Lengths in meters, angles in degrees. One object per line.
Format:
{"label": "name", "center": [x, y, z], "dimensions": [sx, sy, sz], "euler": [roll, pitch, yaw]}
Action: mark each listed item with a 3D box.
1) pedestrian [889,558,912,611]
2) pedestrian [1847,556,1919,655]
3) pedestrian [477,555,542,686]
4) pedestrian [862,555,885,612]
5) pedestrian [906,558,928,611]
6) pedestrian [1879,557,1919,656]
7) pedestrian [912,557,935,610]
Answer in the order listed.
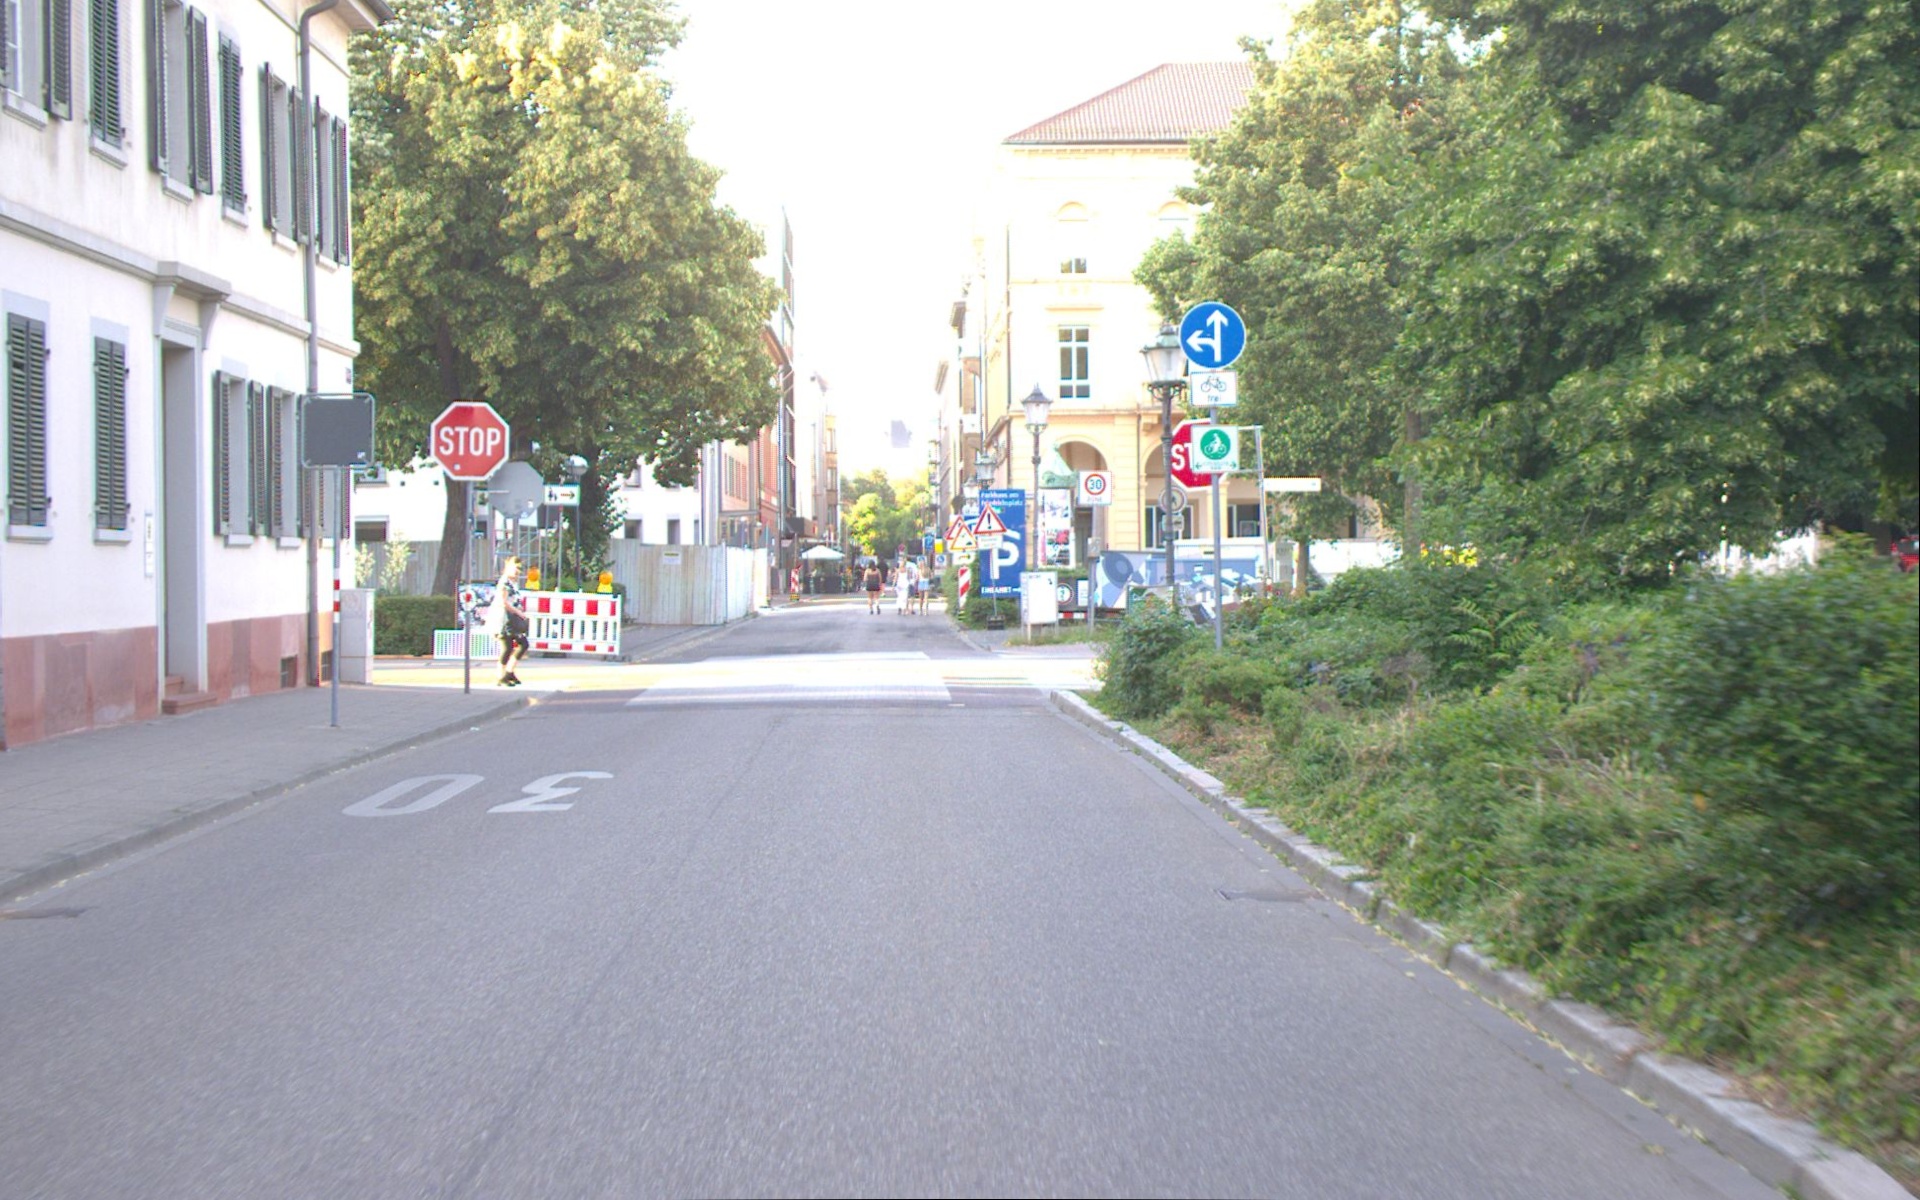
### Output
{"label": "pedestrian", "center": [-1.814, -0.476, 104.810], "dimensions": [0.657, 1.611, 0.745], "euler": [-1, 1, -1]}
{"label": "pedestrian", "center": [11.717, 0.064, 43.269], "dimensions": [0.681, 1.233, 0.818], "euler": [-1, 0, -31]}
{"label": "pedestrian", "center": [-5.855, 0.258, 44.728], "dimensions": [0.734, 1.683, 0.836], "euler": [-1, 0, -1]}
{"label": "pedestrian", "center": [-2.679, -0.527, 106.551], "dimensions": [0.657, 1.754, 0.745], "euler": [-1, 1, 0]}
{"label": "pedestrian", "center": [-1.328, -0.497, 106.608], "dimensions": [0.657, 1.630, 0.745], "euler": [-1, 1, -1]}
{"label": "pedestrian", "center": [12.224, 0.078, 43.691], "dimensions": [0.596, 1.257, 0.873], "euler": [-1, 0, -32]}
{"label": "pedestrian", "center": [-1.114, -0.513, 104.831], "dimensions": [0.657, 1.611, 0.745], "euler": [-1, 1, -1]}
